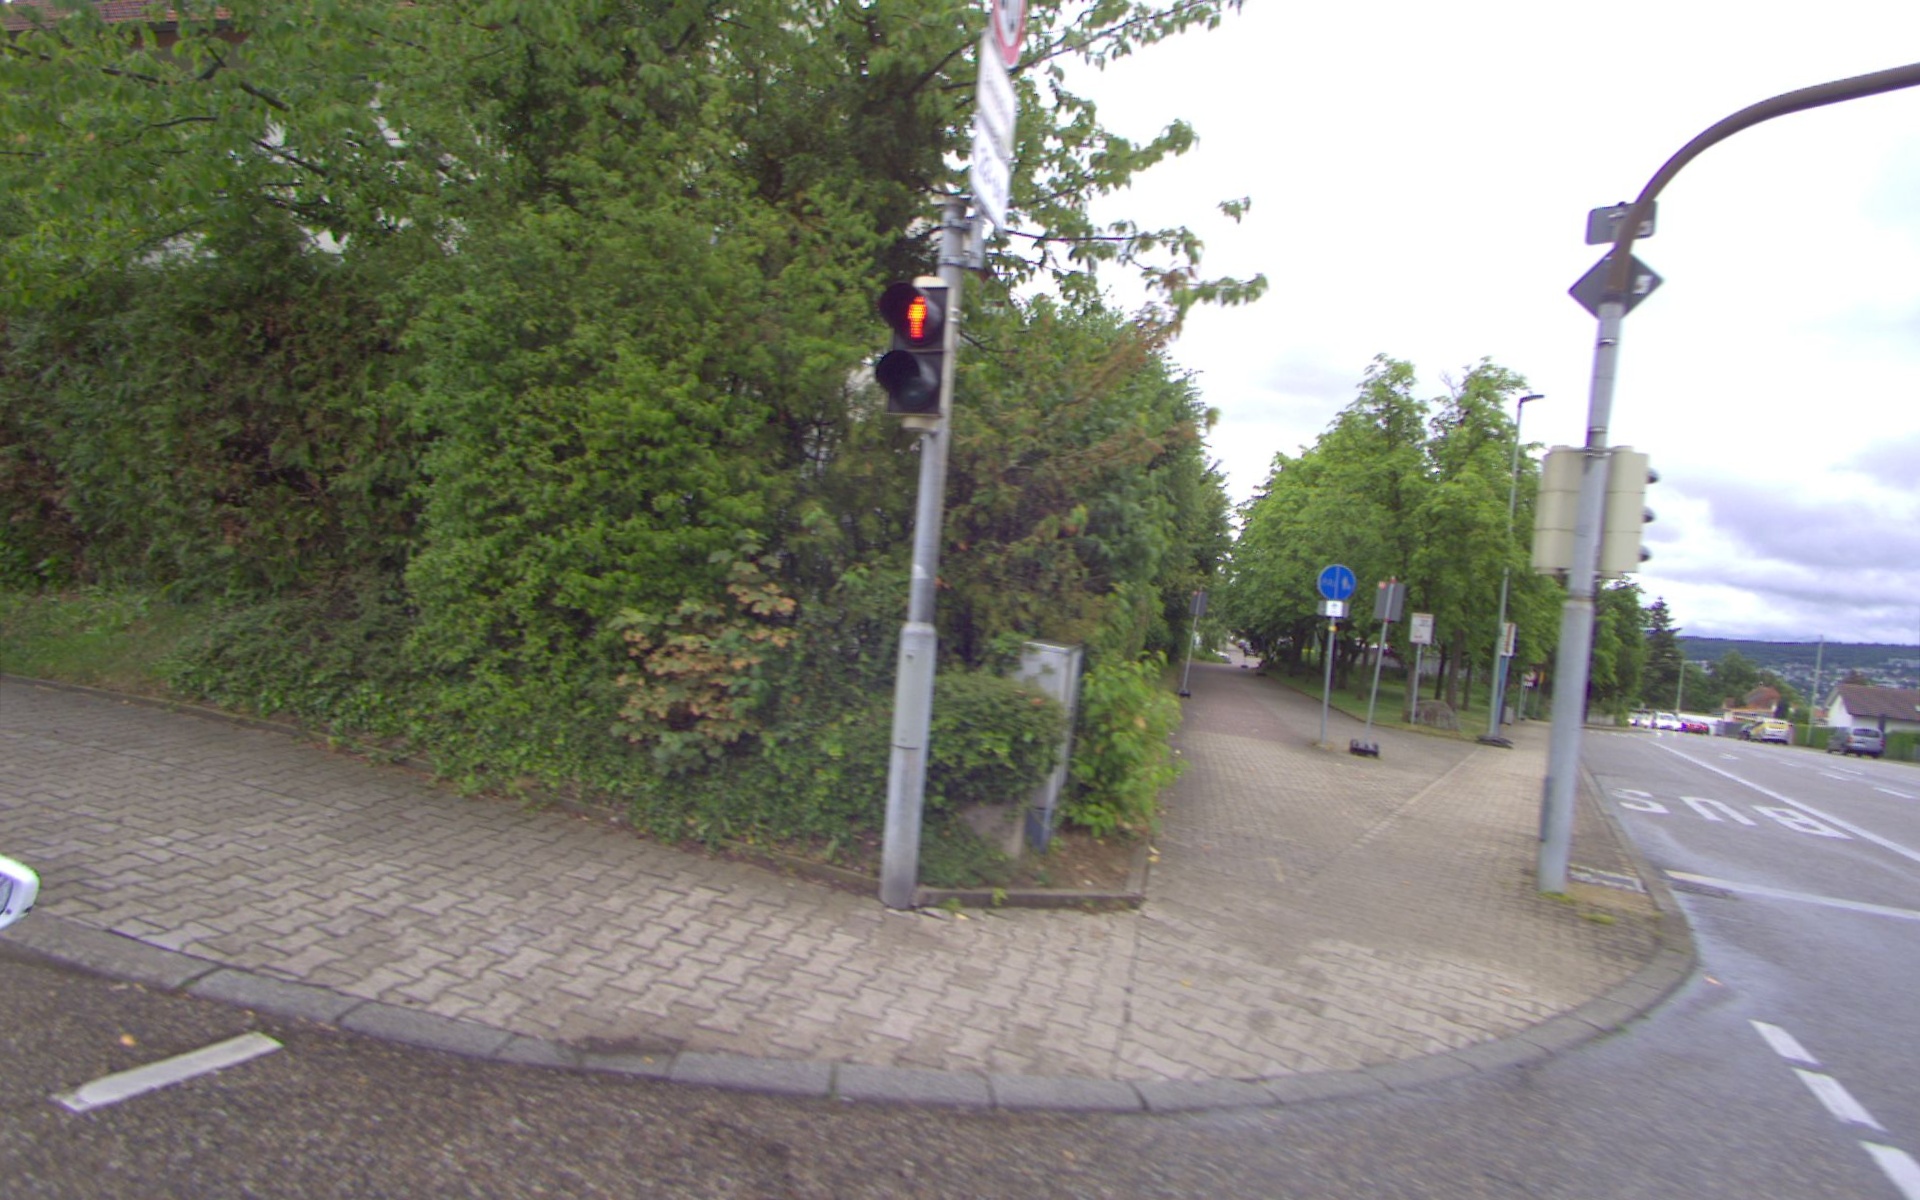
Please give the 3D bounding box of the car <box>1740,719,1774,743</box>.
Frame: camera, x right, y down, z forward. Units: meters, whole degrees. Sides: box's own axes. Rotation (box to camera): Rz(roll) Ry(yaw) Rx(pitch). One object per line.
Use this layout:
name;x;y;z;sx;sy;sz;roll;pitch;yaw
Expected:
car;75.045;12.336;94.789;1.968;1.859;3.992;6;-2;33

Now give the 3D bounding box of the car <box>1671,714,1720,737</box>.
car;77.778;13.218;106.497;3.936;1.859;1.996;5;-2;34

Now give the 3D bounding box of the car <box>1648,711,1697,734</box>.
car;74.014;12.710;104.615;3.936;1.859;1.996;5;-2;34

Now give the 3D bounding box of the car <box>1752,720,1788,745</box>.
car;71.943;11.777;89.393;1.968;1.859;3.992;6;-2;33

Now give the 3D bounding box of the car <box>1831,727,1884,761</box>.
car;60.192;9.608;67.531;1.968;1.859;3.992;6;-2;33
